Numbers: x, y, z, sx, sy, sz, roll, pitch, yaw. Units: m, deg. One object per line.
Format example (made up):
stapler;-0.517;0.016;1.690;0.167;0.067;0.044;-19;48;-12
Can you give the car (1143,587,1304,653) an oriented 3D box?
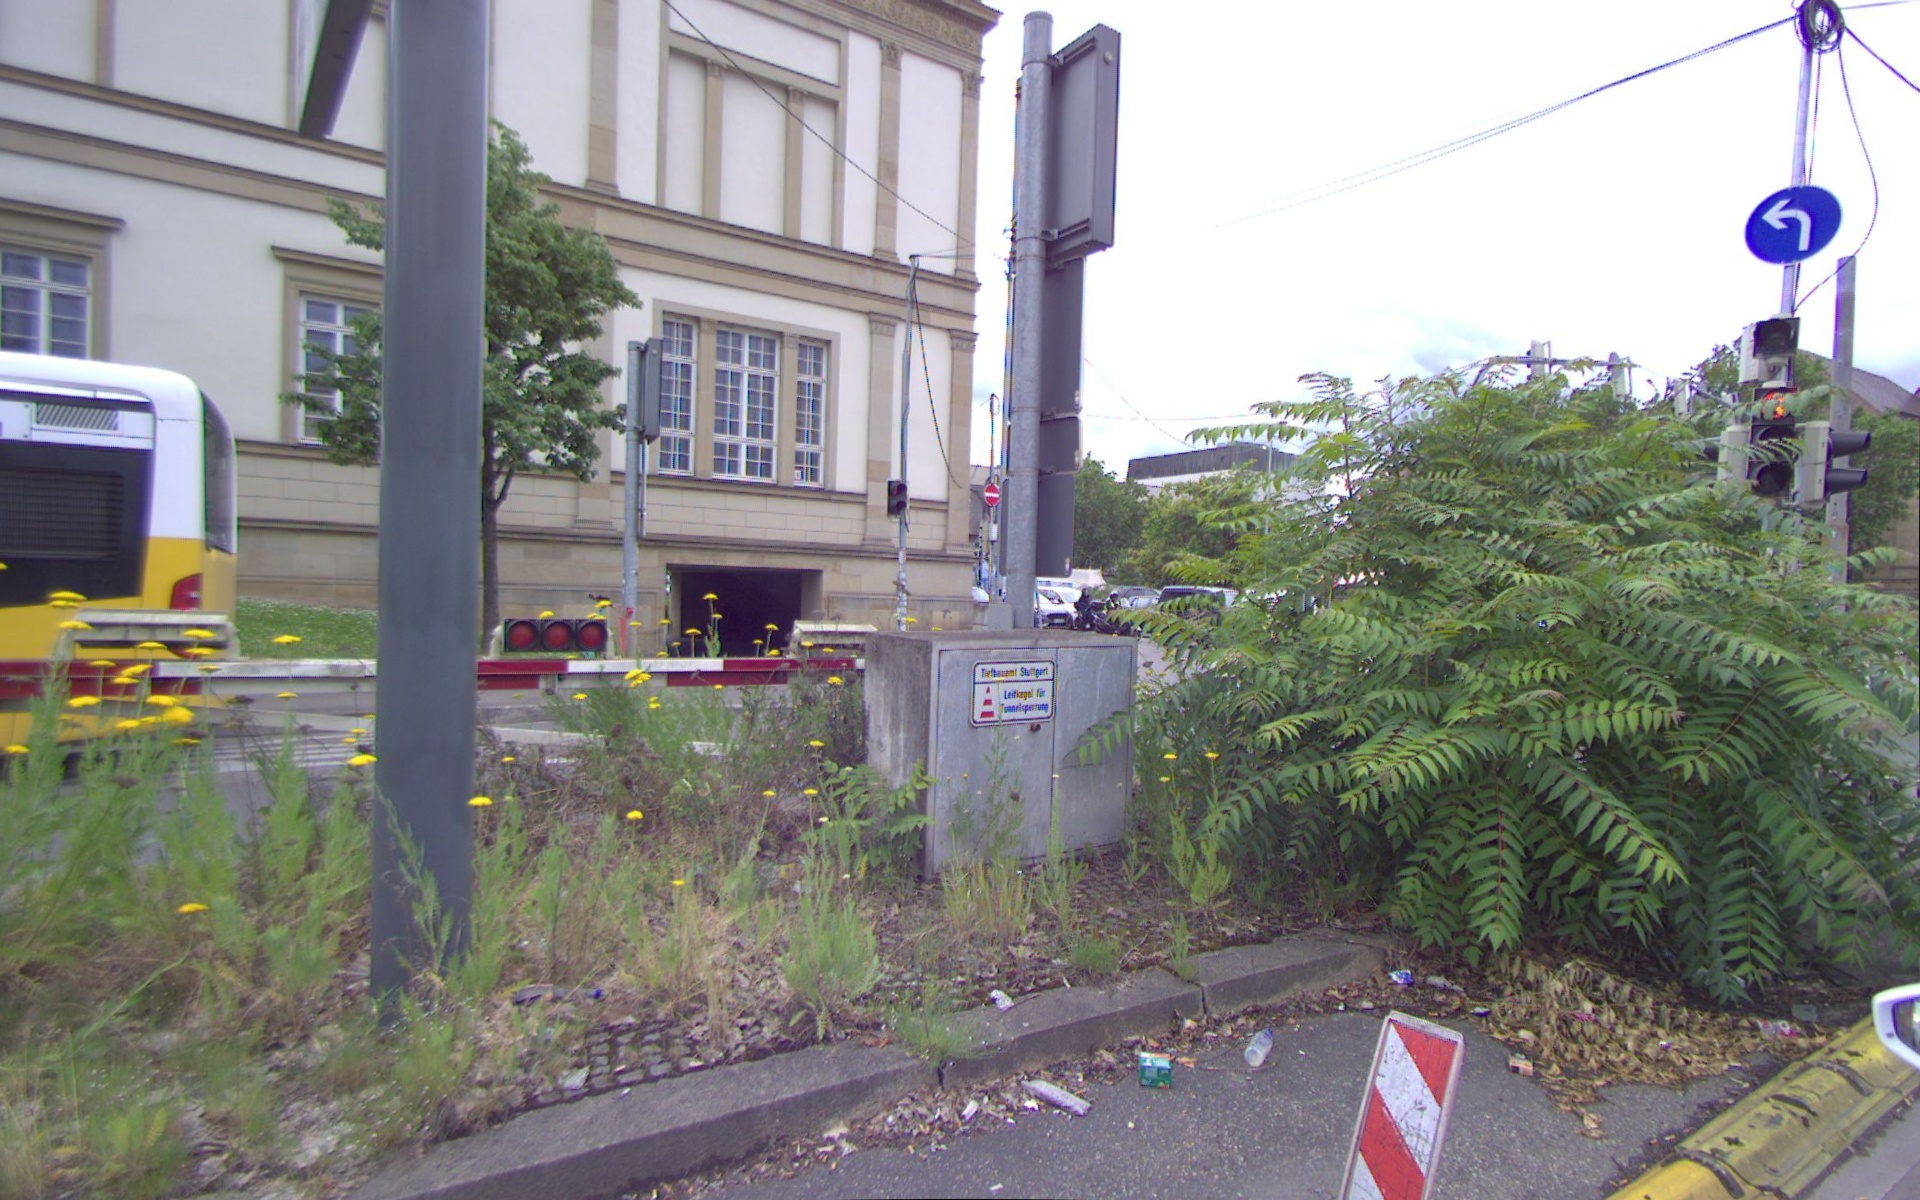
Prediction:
car;7.570;0.524;29.238;1.979;1.698;4.285;1;1;-34

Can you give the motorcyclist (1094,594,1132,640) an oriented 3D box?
motorcyclist;4.990;0.539;32.767;0.738;1.442;0.959;1;1;-35

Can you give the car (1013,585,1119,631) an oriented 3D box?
car;4.246;0.298;40.891;1.979;1.698;4.285;1;1;-34

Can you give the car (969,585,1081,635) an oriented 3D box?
car;2.363;0.349;37.536;1.979;1.698;4.285;1;1;-34

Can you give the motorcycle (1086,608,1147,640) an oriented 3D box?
motorcycle;5.070;0.767;32.653;0.749;0.937;2.042;1;1;-35

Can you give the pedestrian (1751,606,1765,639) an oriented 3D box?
pedestrian;49.777;1.380;62.630;0.516;2.040;0.428;2;1;17

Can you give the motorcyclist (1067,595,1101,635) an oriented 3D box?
motorcyclist;4.571;0.555;37.038;0.747;1.442;0.959;1;1;-35

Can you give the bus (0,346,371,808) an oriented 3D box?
bus;-9.266;-0.223;6.835;9.019;3.156;2.830;1;1;-32

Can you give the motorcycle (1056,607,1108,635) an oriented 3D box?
motorcycle;4.491;0.780;37.161;0.749;0.937;2.042;1;1;-35

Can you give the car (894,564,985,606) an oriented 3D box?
car;-0.944;-0.667;43.686;1.979;1.698;4.285;1;1;-34

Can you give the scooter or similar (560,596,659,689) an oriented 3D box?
scooter or similar;-4.913;0.591;14.141;1.132;1.190;0.540;6;0;-10

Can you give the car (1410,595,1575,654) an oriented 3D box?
car;17.126;0.740;32.451;1.986;1.698;4.271;1;1;-43
